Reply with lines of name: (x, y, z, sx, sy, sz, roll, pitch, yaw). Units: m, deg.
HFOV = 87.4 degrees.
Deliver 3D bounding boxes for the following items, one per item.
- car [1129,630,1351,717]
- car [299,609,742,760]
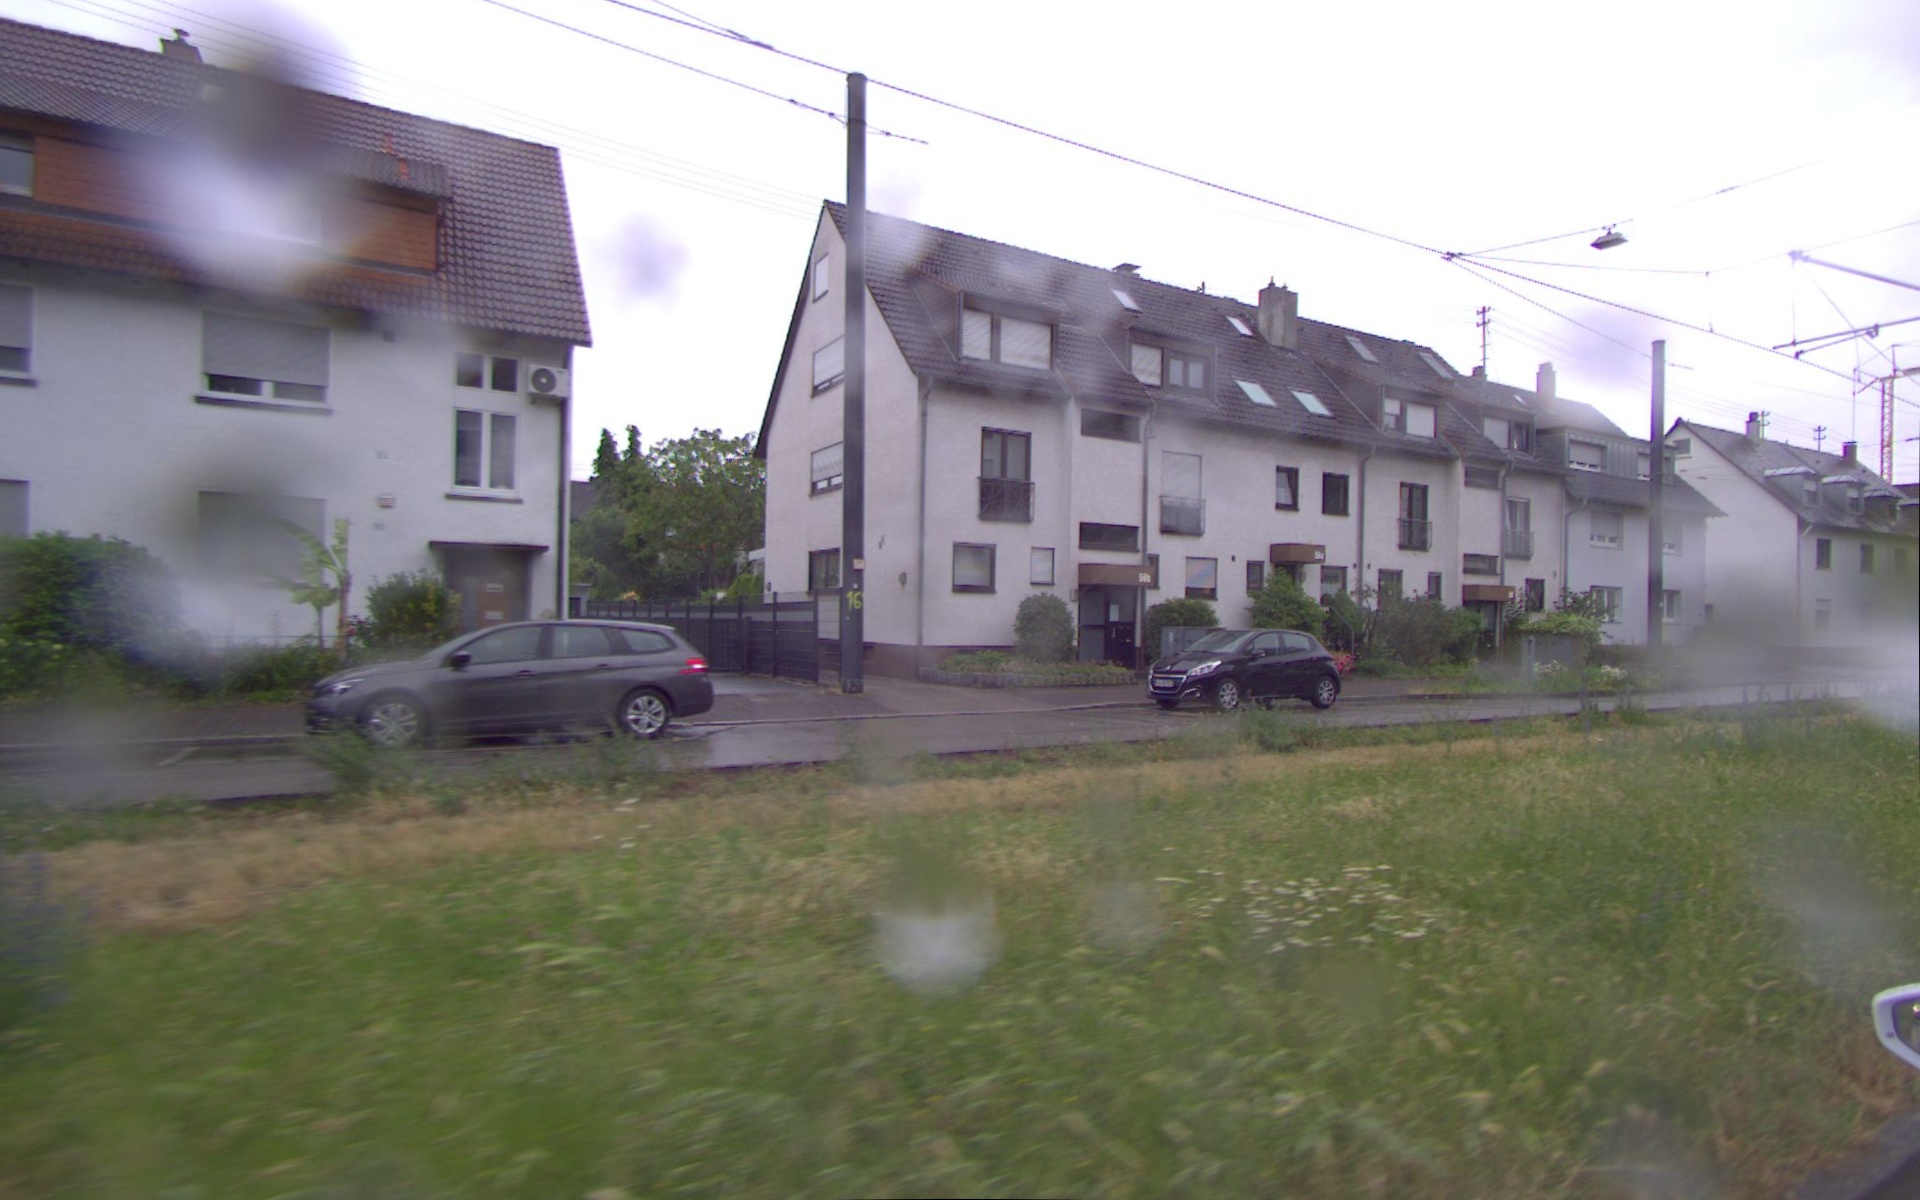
car: (5.194, 1.299, 18.551, 3.890, 1.445, 1.765, 1, -2, -30)
car: (-5.263, 0.947, 12.394, 4.702, 1.552, 1.877, 2, -2, -31)
